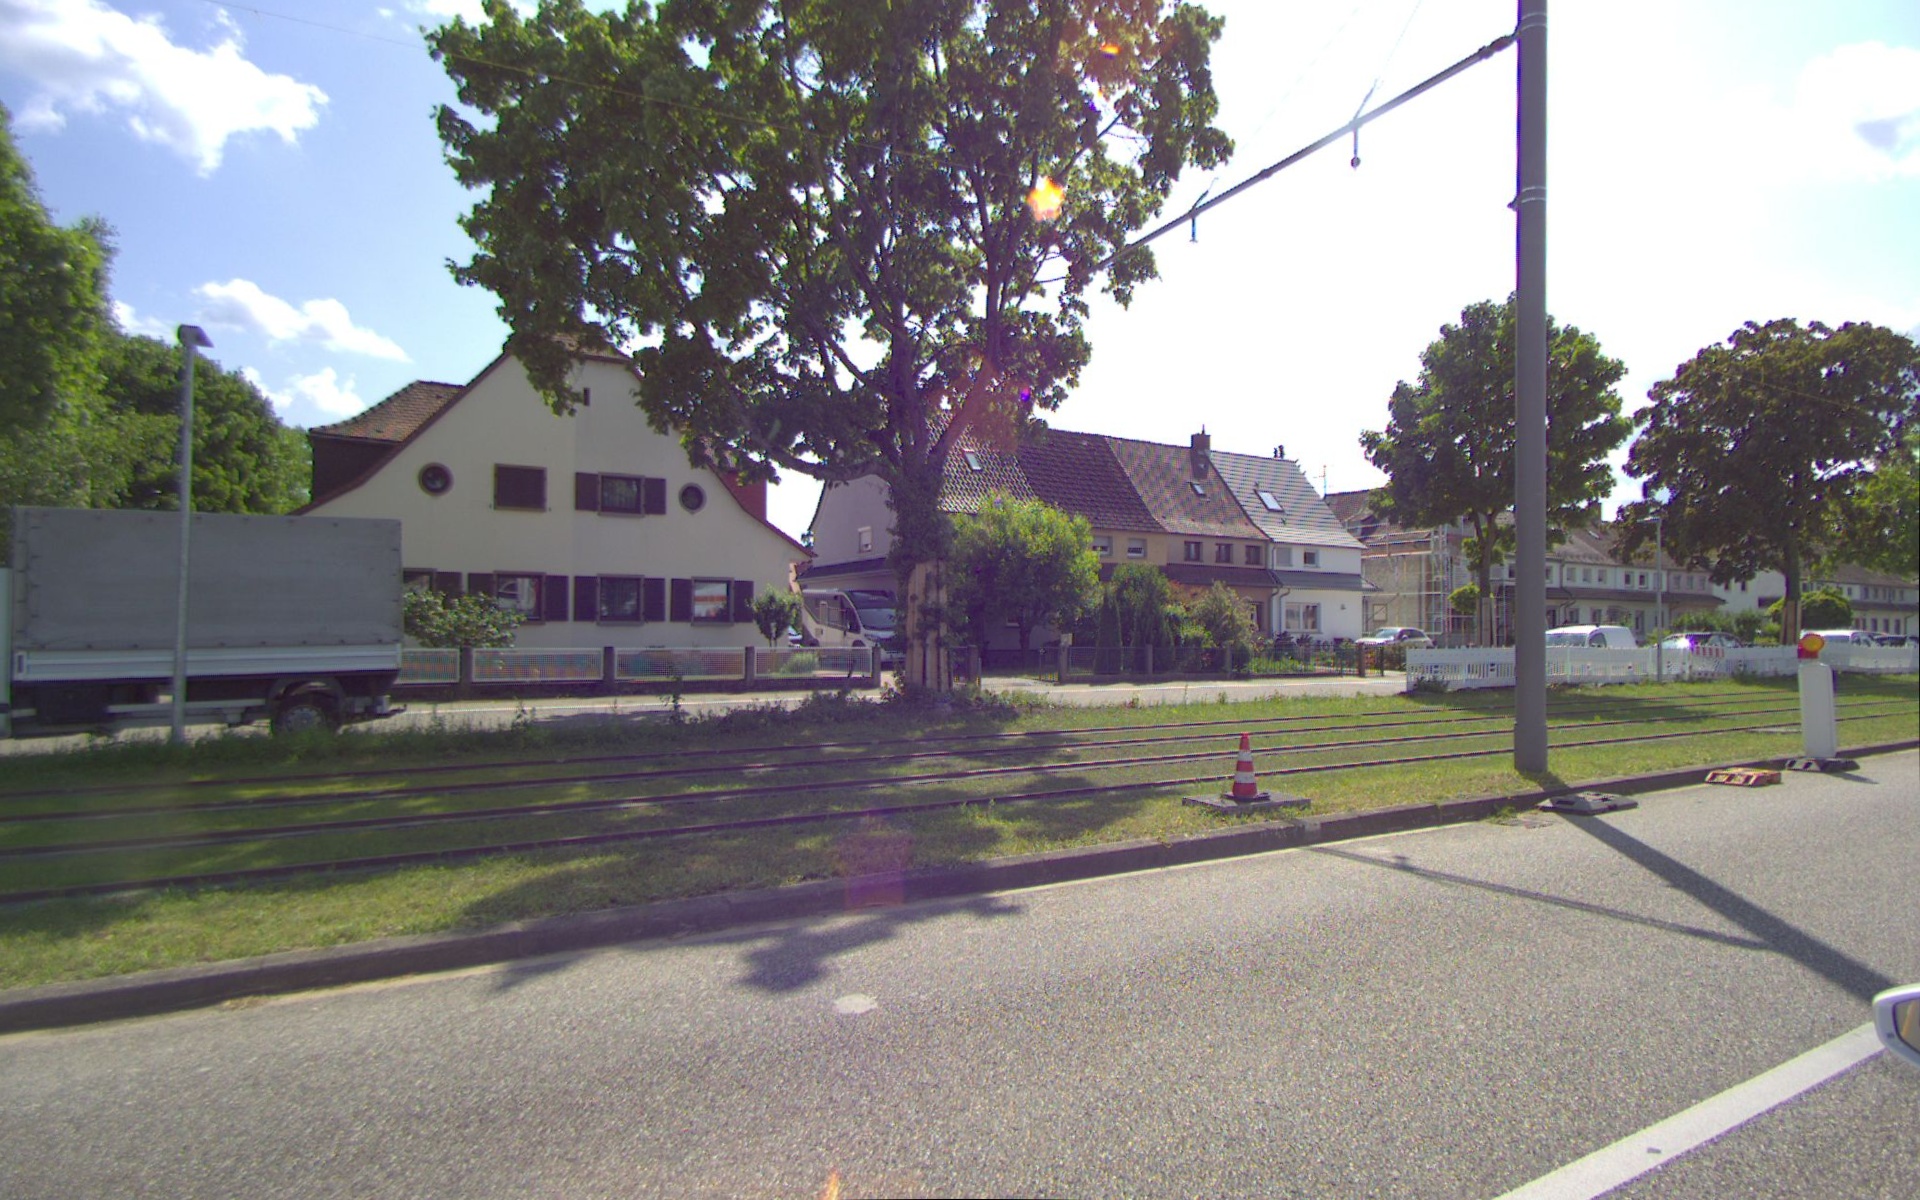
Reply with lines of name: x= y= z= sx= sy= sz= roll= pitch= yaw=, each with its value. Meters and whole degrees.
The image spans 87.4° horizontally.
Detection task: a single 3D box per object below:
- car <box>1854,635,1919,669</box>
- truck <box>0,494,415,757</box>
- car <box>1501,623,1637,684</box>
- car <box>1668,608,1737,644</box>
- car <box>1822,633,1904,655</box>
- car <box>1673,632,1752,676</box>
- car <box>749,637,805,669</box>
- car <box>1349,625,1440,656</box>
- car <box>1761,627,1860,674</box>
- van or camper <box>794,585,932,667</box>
car: x=38.929 y=2.180 z=42.039 sx=3.078 sy=1.395 sz=1.344 roll=2 pitch=-3 yaw=-30
truck: x=-10.125 y=0.296 z=12.399 sx=5.881 sy=2.842 sz=2.353 roll=2 pitch=0 yaw=-30
car: x=17.418 y=1.530 z=28.693 sx=3.954 sy=1.647 sz=1.645 roll=2 pitch=-3 yaw=-30
car: x=45.197 y=1.592 z=61.101 sx=3.954 sy=2.040 sz=1.983 roll=2 pitch=0 yaw=-31
car: x=63.577 y=3.067 z=70.796 sx=1.706 sy=1.529 sz=3.966 roll=1 pitch=-2 yaw=-31
car: x=24.404 y=1.747 z=32.562 sx=2.417 sy=1.365 sz=1.069 roll=2 pitch=-3 yaw=-27
car: x=-7.796 y=2.215 z=42.653 sx=1.330 sy=1.189 sz=2.846 roll=2 pitch=0 yaw=-33
car: x=18.867 y=1.788 z=43.577 sx=4.072 sy=1.291 sz=1.527 roll=2 pitch=-3 yaw=-31
car: x=31.566 y=1.894 z=37.285 sx=3.854 sy=1.673 sz=1.615 roll=2 pitch=-3 yaw=-30
van or camper: x=-3.626 y=0.863 z=36.099 sx=2.471 sy=2.667 sz=6.302 roll=2 pitch=0 yaw=-30
